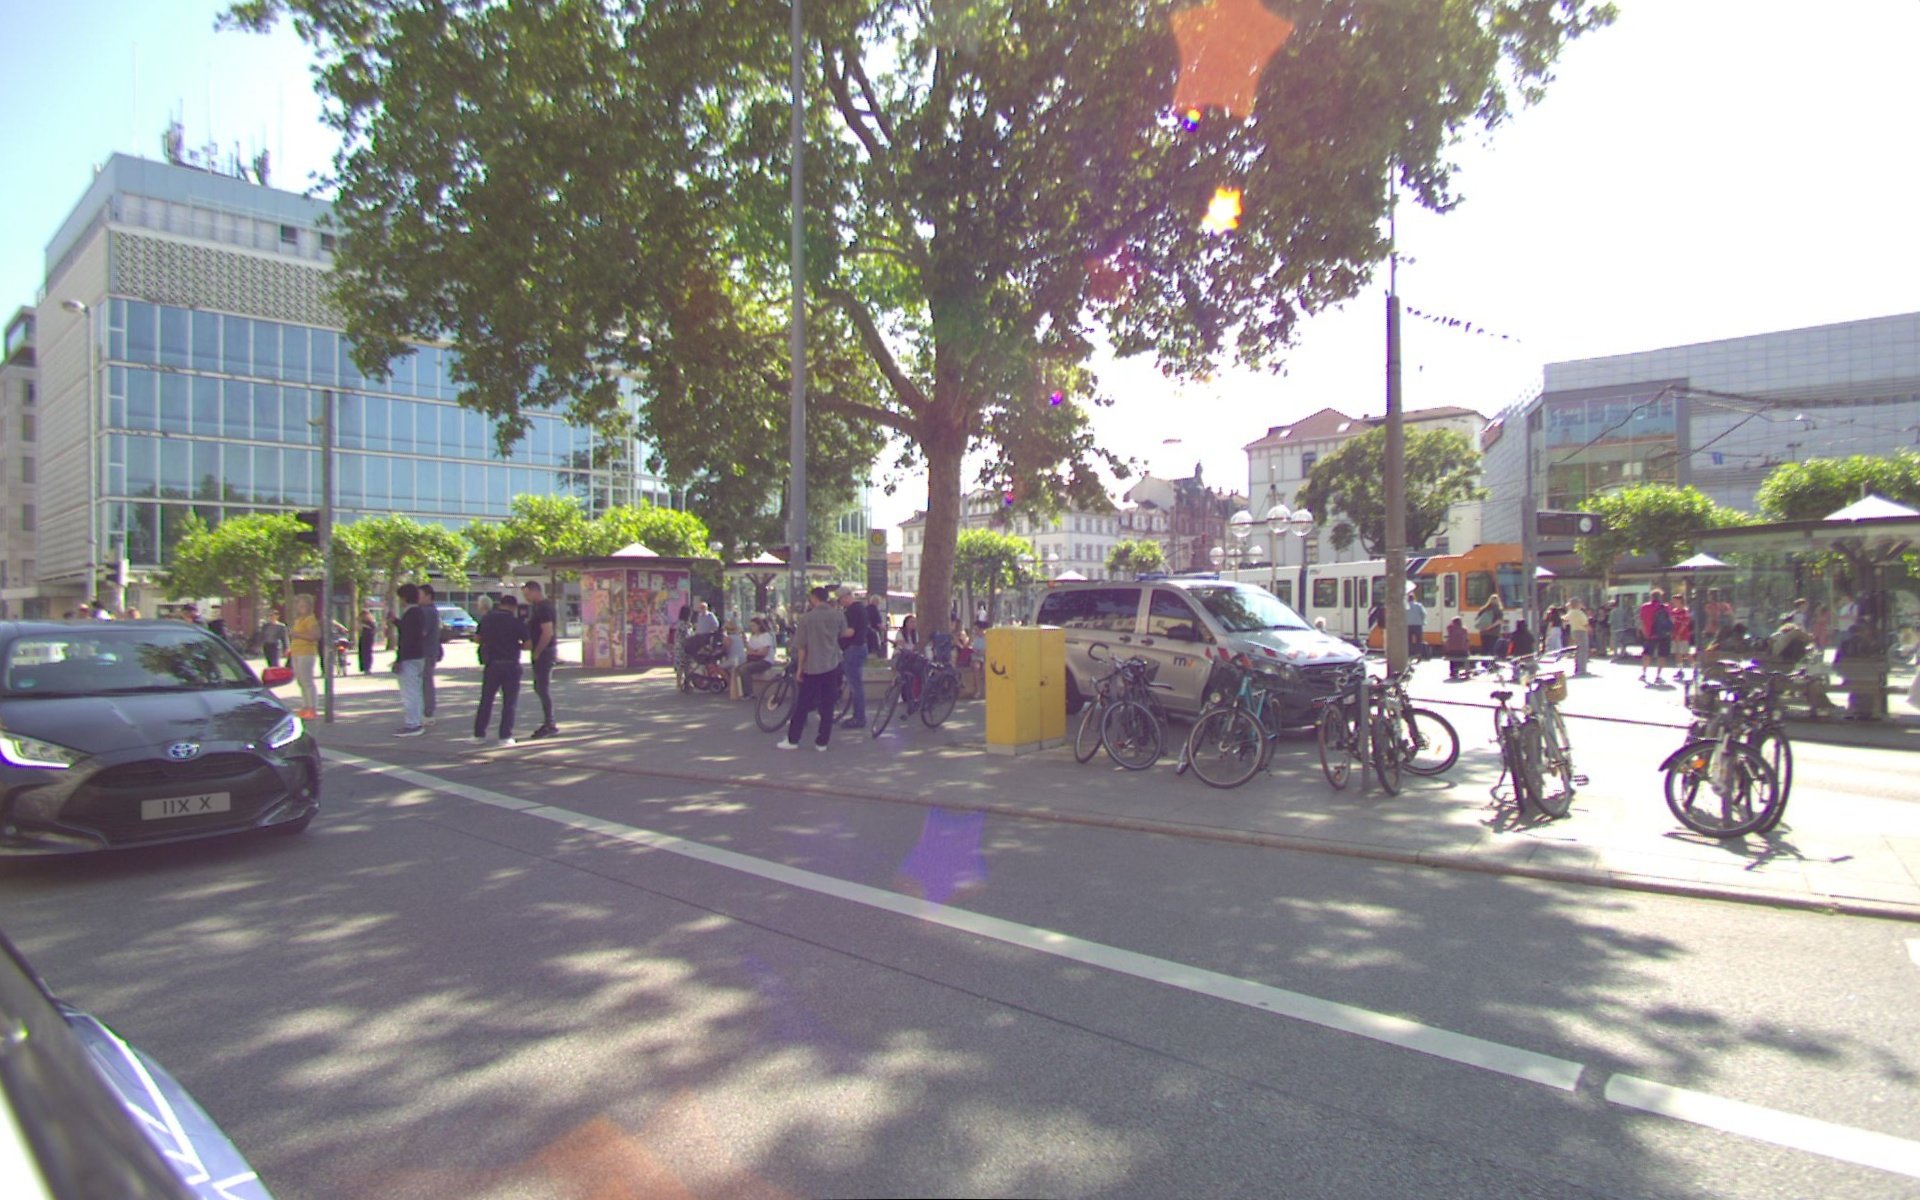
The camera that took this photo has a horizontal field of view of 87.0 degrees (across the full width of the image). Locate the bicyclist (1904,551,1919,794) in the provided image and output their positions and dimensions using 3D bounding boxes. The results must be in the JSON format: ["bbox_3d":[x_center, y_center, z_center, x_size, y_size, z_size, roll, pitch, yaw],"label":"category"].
[{"bbox_3d":[6.580,0.432,6.390,0.831,1.509,1.145,-1,1,41],"label":"bicyclist"}]

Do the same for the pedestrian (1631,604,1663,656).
[{"bbox_3d":[21.107,0.925,31.099,0.572,1.561,0.677,0,-3,13],"label":"pedestrian"}]

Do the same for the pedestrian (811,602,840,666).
[{"bbox_3d":[-3.315,0.822,24.939,0.485,1.537,0.456,-2,1,-43],"label":"pedestrian"}]

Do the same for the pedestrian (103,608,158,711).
[{"bbox_3d":[-14.387,1.016,17.550,0.651,1.726,0.568,-1,1,38],"label":"pedestrian"}]

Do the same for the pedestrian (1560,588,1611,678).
[{"bbox_3d":[13.130,0.706,21.254,0.568,1.855,0.682,2,-4,-29],"label":"pedestrian"}]

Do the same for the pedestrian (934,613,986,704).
[{"bbox_3d":[0.001,1.155,20.275,0.779,1.760,0.662,-1,1,30],"label":"pedestrian"}]

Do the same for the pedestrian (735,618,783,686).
[{"bbox_3d":[-3.811,0.979,19.232,0.610,1.251,0.668,-2,1,17],"label":"pedestrian"}]

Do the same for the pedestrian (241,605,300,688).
[{"bbox_3d":[-15.212,1.013,22.328,0.881,1.760,0.715,-1,1,30],"label":"pedestrian"}]

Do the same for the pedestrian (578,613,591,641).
[{"bbox_3d":[-20.792,1.493,56.045,0.399,1.483,0.460,-1,1,24],"label":"pedestrian"}]

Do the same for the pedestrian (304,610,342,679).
[{"bbox_3d":[-16.149,1.109,25.643,0.721,1.682,0.641,-2,1,-37],"label":"pedestrian"}]

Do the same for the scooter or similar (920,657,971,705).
[{"bbox_3d":[-0.235,1.258,15.872,0.570,0.652,0.788,-2,1,-17],"label":"scooter or similar"}]

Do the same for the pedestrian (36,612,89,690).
[{"bbox_3d":[-20.820,1.167,23.489,0.721,1.760,0.642,-2,1,-26],"label":"pedestrian"}]

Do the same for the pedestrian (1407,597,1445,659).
[{"bbox_3d":[12.005,0.725,26.062,0.669,1.561,0.580,2,-4,-30],"label":"pedestrian"}]

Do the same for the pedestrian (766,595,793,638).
[{"bbox_3d":[-7.499,0.676,42.069,0.779,1.760,0.744,-1,1,30],"label":"pedestrian"}]

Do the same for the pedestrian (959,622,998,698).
[{"bbox_3d":[0.311,0.995,16.940,0.493,1.215,0.461,-2,1,-17],"label":"pedestrian"}]

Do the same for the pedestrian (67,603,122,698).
[{"bbox_3d":[-16.608,0.952,19.428,0.732,1.760,0.631,-1,1,38],"label":"pedestrian"}]

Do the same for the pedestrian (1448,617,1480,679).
[{"bbox_3d":[10.391,0.991,20.866,0.551,1.243,0.573,-1,-4,28],"label":"pedestrian"}]

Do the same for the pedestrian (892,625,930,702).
[{"bbox_3d":[-0.787,0.999,16.107,0.499,1.182,0.350,-2,1,-17],"label":"pedestrian"}]

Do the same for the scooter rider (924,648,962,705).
[{"bbox_3d":[-0.264,1.190,15.817,0.499,0.845,0.350,-2,1,-17],"label":"scooter rider"}]

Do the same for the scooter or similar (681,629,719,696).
[{"bbox_3d":[-4.658,1.107,18.113,0.559,1.128,0.540,-2,1,-23],"label":"scooter or similar"}]

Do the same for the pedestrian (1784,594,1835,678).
[{"bbox_3d":[17.997,0.764,21.455,0.584,1.744,0.558,-1,-3,18],"label":"pedestrian"}]

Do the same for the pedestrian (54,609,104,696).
[{"bbox_3d":[-18.469,1.078,21.216,0.732,1.760,0.631,-1,1,38],"label":"pedestrian"}]

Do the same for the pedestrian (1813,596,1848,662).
[{"bbox_3d":[22.916,0.765,26.650,0.462,1.731,0.555,-1,-3,17],"label":"pedestrian"}]

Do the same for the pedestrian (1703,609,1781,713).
[{"bbox_3d":[11.520,0.896,14.920,0.614,1.477,0.682,2,-4,-29],"label":"pedestrian"}]

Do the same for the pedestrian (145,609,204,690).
[{"bbox_3d":[-17.767,1.105,22.902,0.732,1.760,0.866,-1,1,38],"label":"pedestrian"}]

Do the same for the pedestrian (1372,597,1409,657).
[{"bbox_3d":[11.434,0.732,26.905,0.669,1.561,0.580,1,-3,-16],"label":"pedestrian"}]

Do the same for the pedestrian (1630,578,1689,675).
[{"bbox_3d":[13.172,0.514,19.059,0.568,1.791,0.682,2,-4,-29],"label":"pedestrian"}]

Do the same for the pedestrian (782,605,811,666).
[{"bbox_3d":[-4.041,0.871,24.988,0.449,1.483,0.556,-2,1,-42],"label":"pedestrian"}]

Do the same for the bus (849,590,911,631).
[{"bbox_3d":[-6.103,0.707,79.806,2.362,2.811,12.157,-2,1,7],"label":"bus"}]

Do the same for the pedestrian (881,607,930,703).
[{"bbox_3d":[-0.881,0.864,16.302,0.570,1.472,0.788,-2,1,-17],"label":"pedestrian"}]

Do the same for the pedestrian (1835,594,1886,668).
[{"bbox_3d":[22.316,0.775,25.087,0.675,1.809,0.621,-1,-3,18],"label":"pedestrian"}]

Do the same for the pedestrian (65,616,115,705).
[{"bbox_3d":[-17.898,1.228,20.827,0.605,1.760,0.631,-1,1,38],"label":"pedestrian"}]

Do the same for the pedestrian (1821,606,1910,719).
[{"bbox_3d":[12.156,0.835,13.596,0.614,1.477,0.682,2,-4,-29],"label":"pedestrian"}]

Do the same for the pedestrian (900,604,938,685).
[{"bbox_3d":[-0.861,0.933,21.325,0.553,1.656,0.524,-1,1,30],"label":"pedestrian"}]

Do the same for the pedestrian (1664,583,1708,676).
[{"bbox_3d":[14.198,0.586,19.799,0.578,1.791,0.671,-3,-4,43],"label":"pedestrian"}]

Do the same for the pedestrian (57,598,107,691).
[{"bbox_3d":[-18.976,0.945,21.873,0.859,1.934,0.631,-1,1,38],"label":"pedestrian"}]

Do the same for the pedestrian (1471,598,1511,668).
[{"bbox_3d":[12.140,0.761,23.137,0.657,1.561,0.566,-3,-4,42],"label":"pedestrian"}]

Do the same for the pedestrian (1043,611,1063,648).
[{"bbox_3d":[3.763,1.189,40.929,0.547,1.483,0.532,-2,1,-43],"label":"pedestrian"}]

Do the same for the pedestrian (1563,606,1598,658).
[{"bbox_3d":[19.120,0.988,31.182,0.568,1.561,0.683,2,-4,-24],"label":"pedestrian"}]

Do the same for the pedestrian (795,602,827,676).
[{"bbox_3d":[-3.580,0.922,24.340,0.547,1.739,0.492,-2,1,-43],"label":"pedestrian"}]

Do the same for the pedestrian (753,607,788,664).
[{"bbox_3d":[-5.195,0.965,27.788,0.772,1.518,0.751,-2,1,2],"label":"pedestrian"}]

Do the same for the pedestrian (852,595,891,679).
[{"bbox_3d":[-1.899,0.776,21.731,0.611,1.760,0.532,-1,1,30],"label":"pedestrian"}]

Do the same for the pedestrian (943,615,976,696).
[{"bbox_3d":[-0.009,1.171,21.519,0.470,1.681,0.498,-1,1,30],"label":"pedestrian"}]

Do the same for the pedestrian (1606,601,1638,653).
[{"bbox_3d":[20.089,0.839,30.711,0.572,1.561,0.677,0,-3,13],"label":"pedestrian"}]

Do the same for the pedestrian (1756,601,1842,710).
[{"bbox_3d":[11.832,0.784,14.279,0.716,1.477,0.682,2,-4,-30],"label":"pedestrian"}]

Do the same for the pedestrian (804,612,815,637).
[{"bbox_3d":[-9.223,1.500,62.090,0.546,1.483,0.760,-2,1,-14],"label":"pedestrian"}]

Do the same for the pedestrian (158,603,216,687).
[{"bbox_3d":[-16.853,0.973,22.076,0.730,1.760,0.744,-1,1,30],"label":"pedestrian"}]

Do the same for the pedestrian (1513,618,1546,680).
[{"bbox_3d":[11.324,0.968,20.138,0.524,1.211,0.540,-1,-4,28],"label":"pedestrian"}]

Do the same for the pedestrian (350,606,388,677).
[{"bbox_3d":[-15.250,1.048,26.100,0.721,1.760,0.641,-2,1,-37],"label":"pedestrian"}]
